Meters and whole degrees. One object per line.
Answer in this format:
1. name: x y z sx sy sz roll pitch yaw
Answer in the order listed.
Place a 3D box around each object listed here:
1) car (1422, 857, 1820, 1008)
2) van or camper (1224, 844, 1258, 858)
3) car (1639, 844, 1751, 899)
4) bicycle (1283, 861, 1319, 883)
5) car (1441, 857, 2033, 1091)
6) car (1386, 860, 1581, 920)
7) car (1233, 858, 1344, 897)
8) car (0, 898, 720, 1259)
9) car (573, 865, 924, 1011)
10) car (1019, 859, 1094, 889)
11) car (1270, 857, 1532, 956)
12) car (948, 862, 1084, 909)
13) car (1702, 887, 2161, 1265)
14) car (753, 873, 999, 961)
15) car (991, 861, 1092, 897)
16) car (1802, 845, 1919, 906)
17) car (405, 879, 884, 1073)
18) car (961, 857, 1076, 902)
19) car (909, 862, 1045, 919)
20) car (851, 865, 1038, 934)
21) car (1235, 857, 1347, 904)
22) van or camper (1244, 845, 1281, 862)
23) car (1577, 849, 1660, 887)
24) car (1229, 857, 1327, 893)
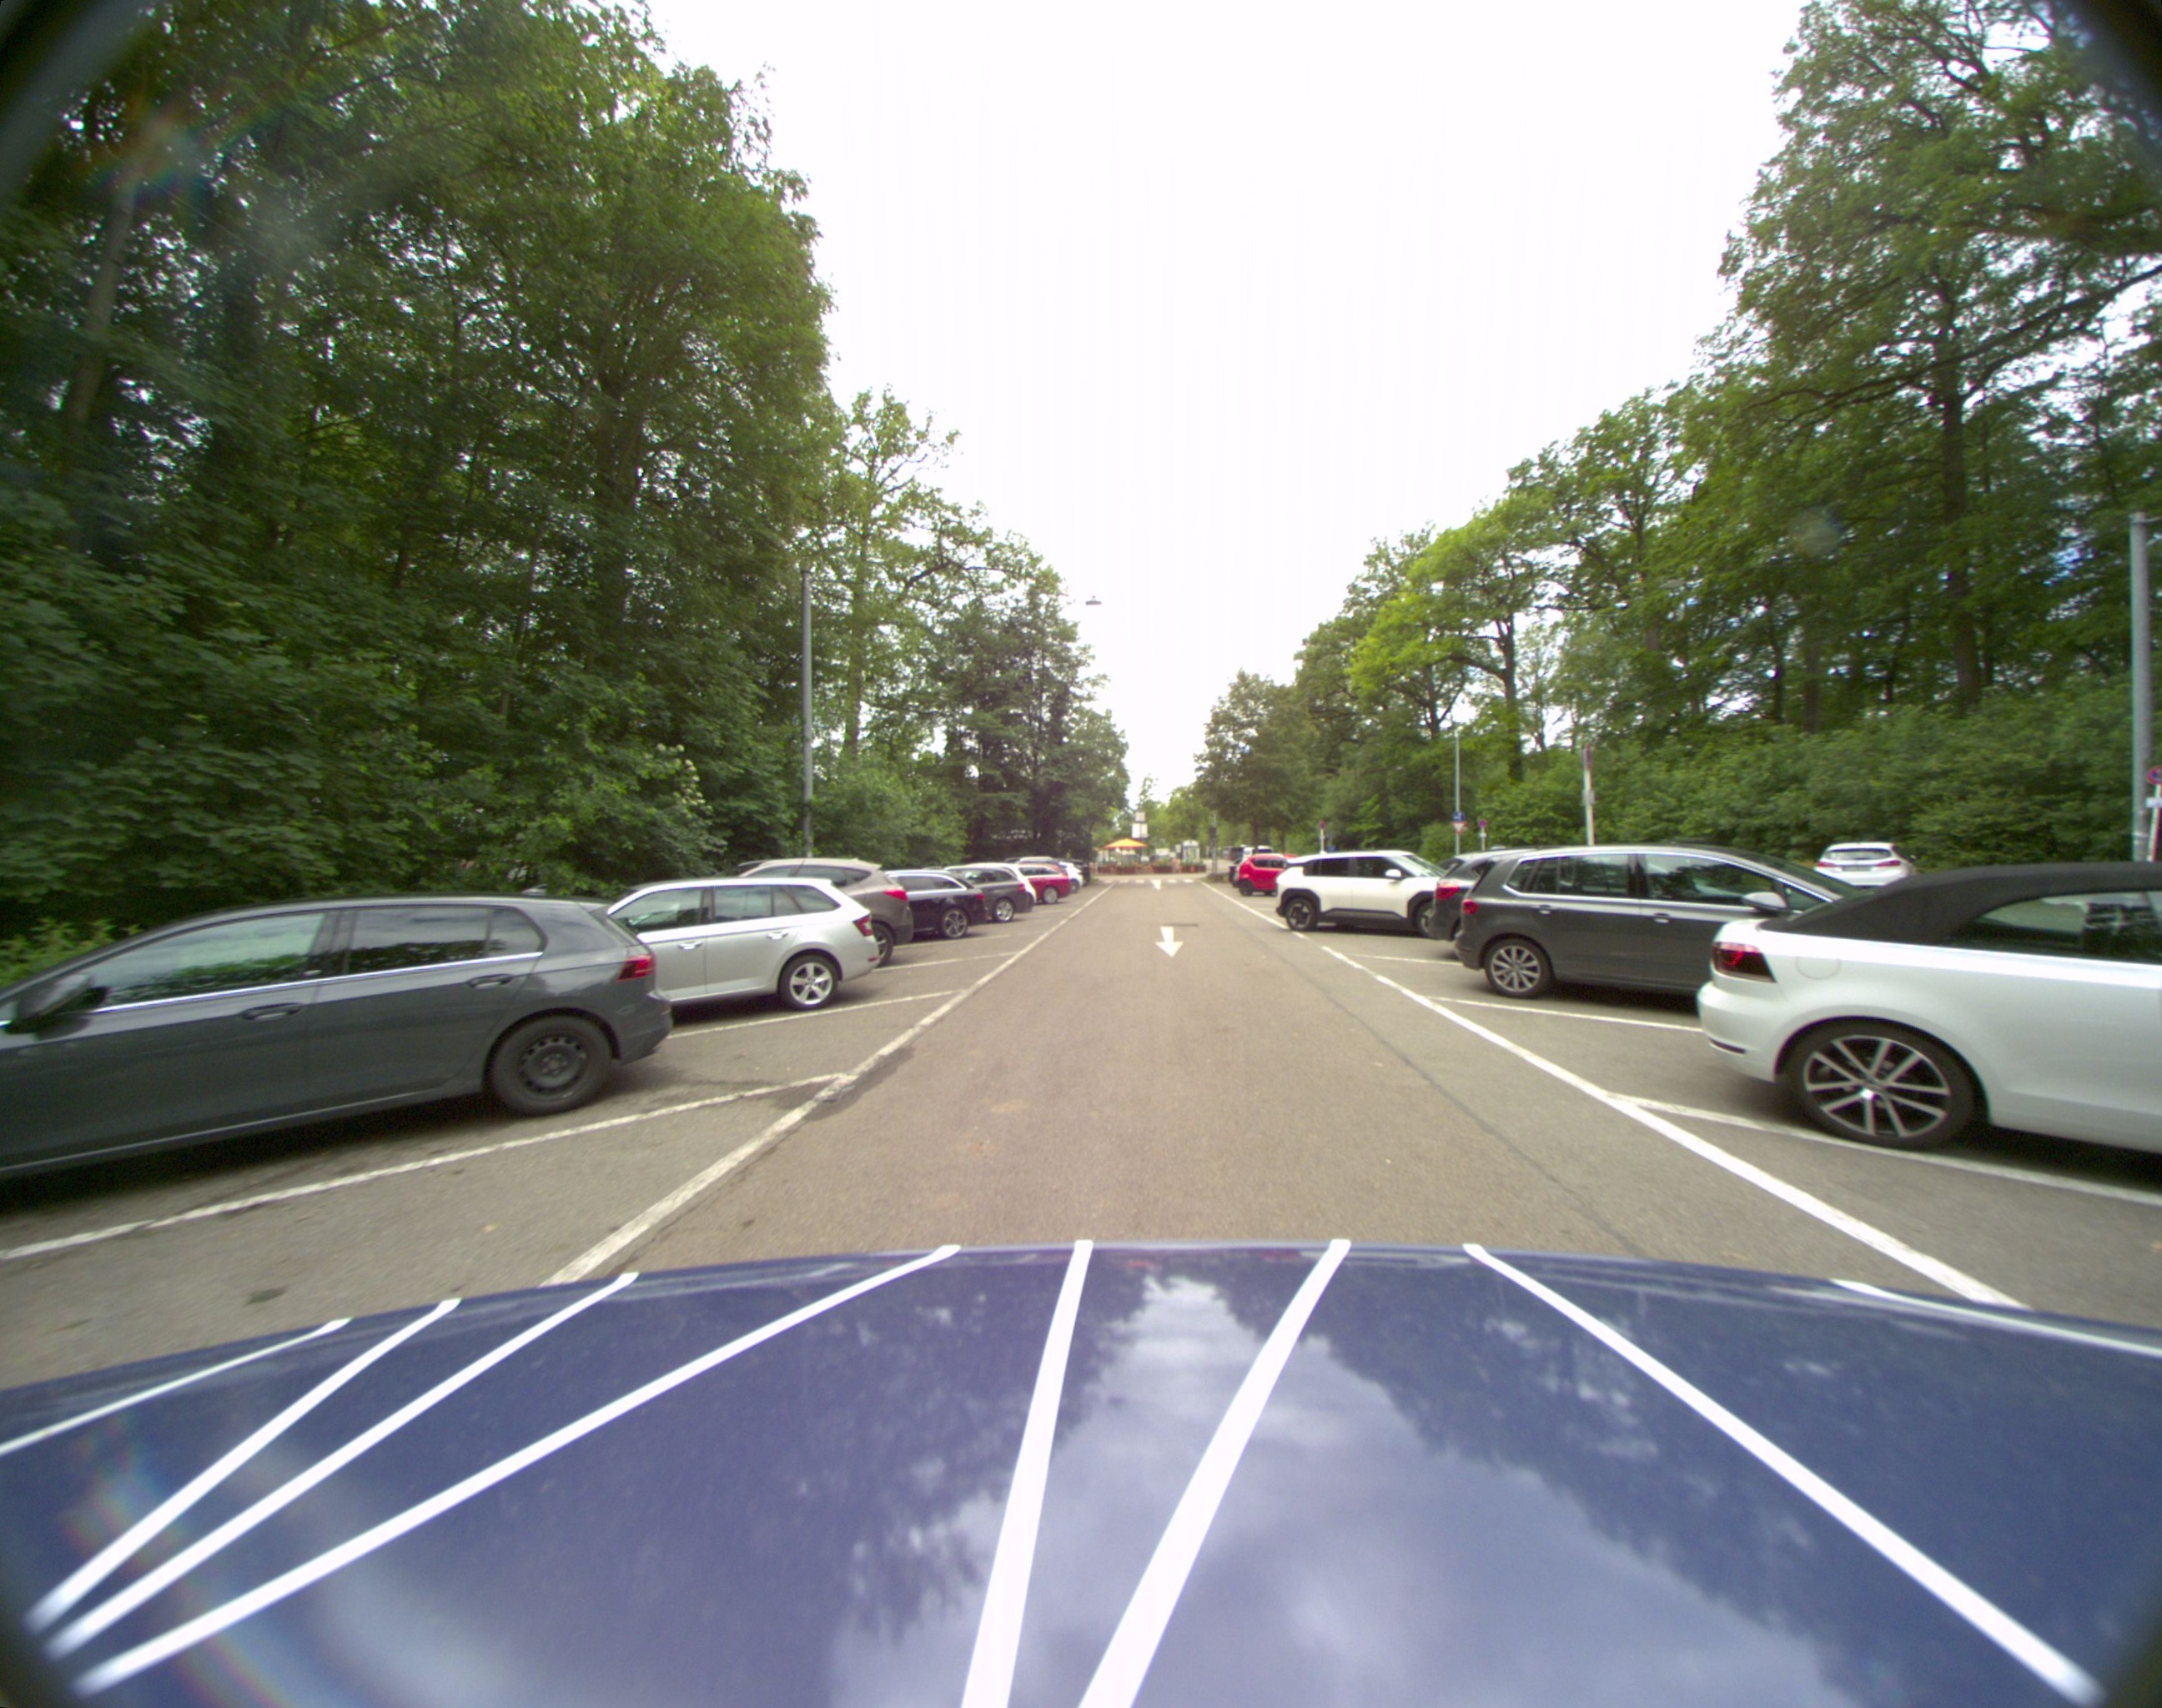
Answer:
1. car: 6.882 0.856 9.957 3.989 1.545 1.877 -1 0 44
2. van or camper: 33.730 -0.679 160.303 7.351 2.833 2.199 -1 0 -30
3. car: 21.742 0.569 26.846 4.718 1.756 2.106 -1 0 -39
4. bicycle: 11.610 0.935 40.150 1.786 1.105 0.483 -1 1 9
5. car: 5.888 0.860 7.277 1.851 1.577 3.966 -1 -1 -40
6. car: 10.878 0.920 20.747 1.873 1.433 4.304 -1 0 -42
7. car: 8.484 0.934 31.295 1.880 1.475 3.989 -2 0 -42
8. car: -4.697 1.109 4.769 4.008 1.414 1.905 -1 0 -40
9. car: -4.701 1.021 11.056 4.271 1.627 1.960 -1 0 -39
10. car: -1.296 1.073 41.257 3.799 1.483 1.695 -1 0 -40
11. car: 5.932 0.887 14.448 1.850 1.587 4.178 -1 0 -42
12. car: -2.230 1.028 26.465 4.304 1.405 1.923 -1 0 -35
13. car: 5.348 0.927 3.283 1.776 1.435 3.836 -1 0 -39
14. car: -3.963 1.131 15.084 4.271 1.369 1.960 -1 0 -41
15. car: -1.721 1.074 33.672 4.127 1.430 1.865 -1 0 -36
16. car: 21.456 0.542 20.871 4.008 1.501 1.865 -1 0 -39
17. car: -4.378 1.055 8.087 4.007 1.458 1.830 -1 -1 -35
18. car: -2.440 0.959 29.961 4.127 1.608 1.837 -1 0 -36
19. car: -3.045 1.027 22.494 3.589 1.496 1.730 -1 0 -37
20. car: -3.300 1.046 18.850 4.195 1.449 1.800 -1 0 -39
21. car: 7.740 0.948 28.169 1.690 1.576 3.644 -1 0 -42
22. van or camper: 32.646 -0.074 136.686 7.353 2.833 2.063 -1 0 -34
23. car: 22.149 0.545 31.265 4.007 1.368 1.735 -1 0 -39
24. car: 9.002 0.923 34.935 1.834 1.514 4.089 -2 0 -37
